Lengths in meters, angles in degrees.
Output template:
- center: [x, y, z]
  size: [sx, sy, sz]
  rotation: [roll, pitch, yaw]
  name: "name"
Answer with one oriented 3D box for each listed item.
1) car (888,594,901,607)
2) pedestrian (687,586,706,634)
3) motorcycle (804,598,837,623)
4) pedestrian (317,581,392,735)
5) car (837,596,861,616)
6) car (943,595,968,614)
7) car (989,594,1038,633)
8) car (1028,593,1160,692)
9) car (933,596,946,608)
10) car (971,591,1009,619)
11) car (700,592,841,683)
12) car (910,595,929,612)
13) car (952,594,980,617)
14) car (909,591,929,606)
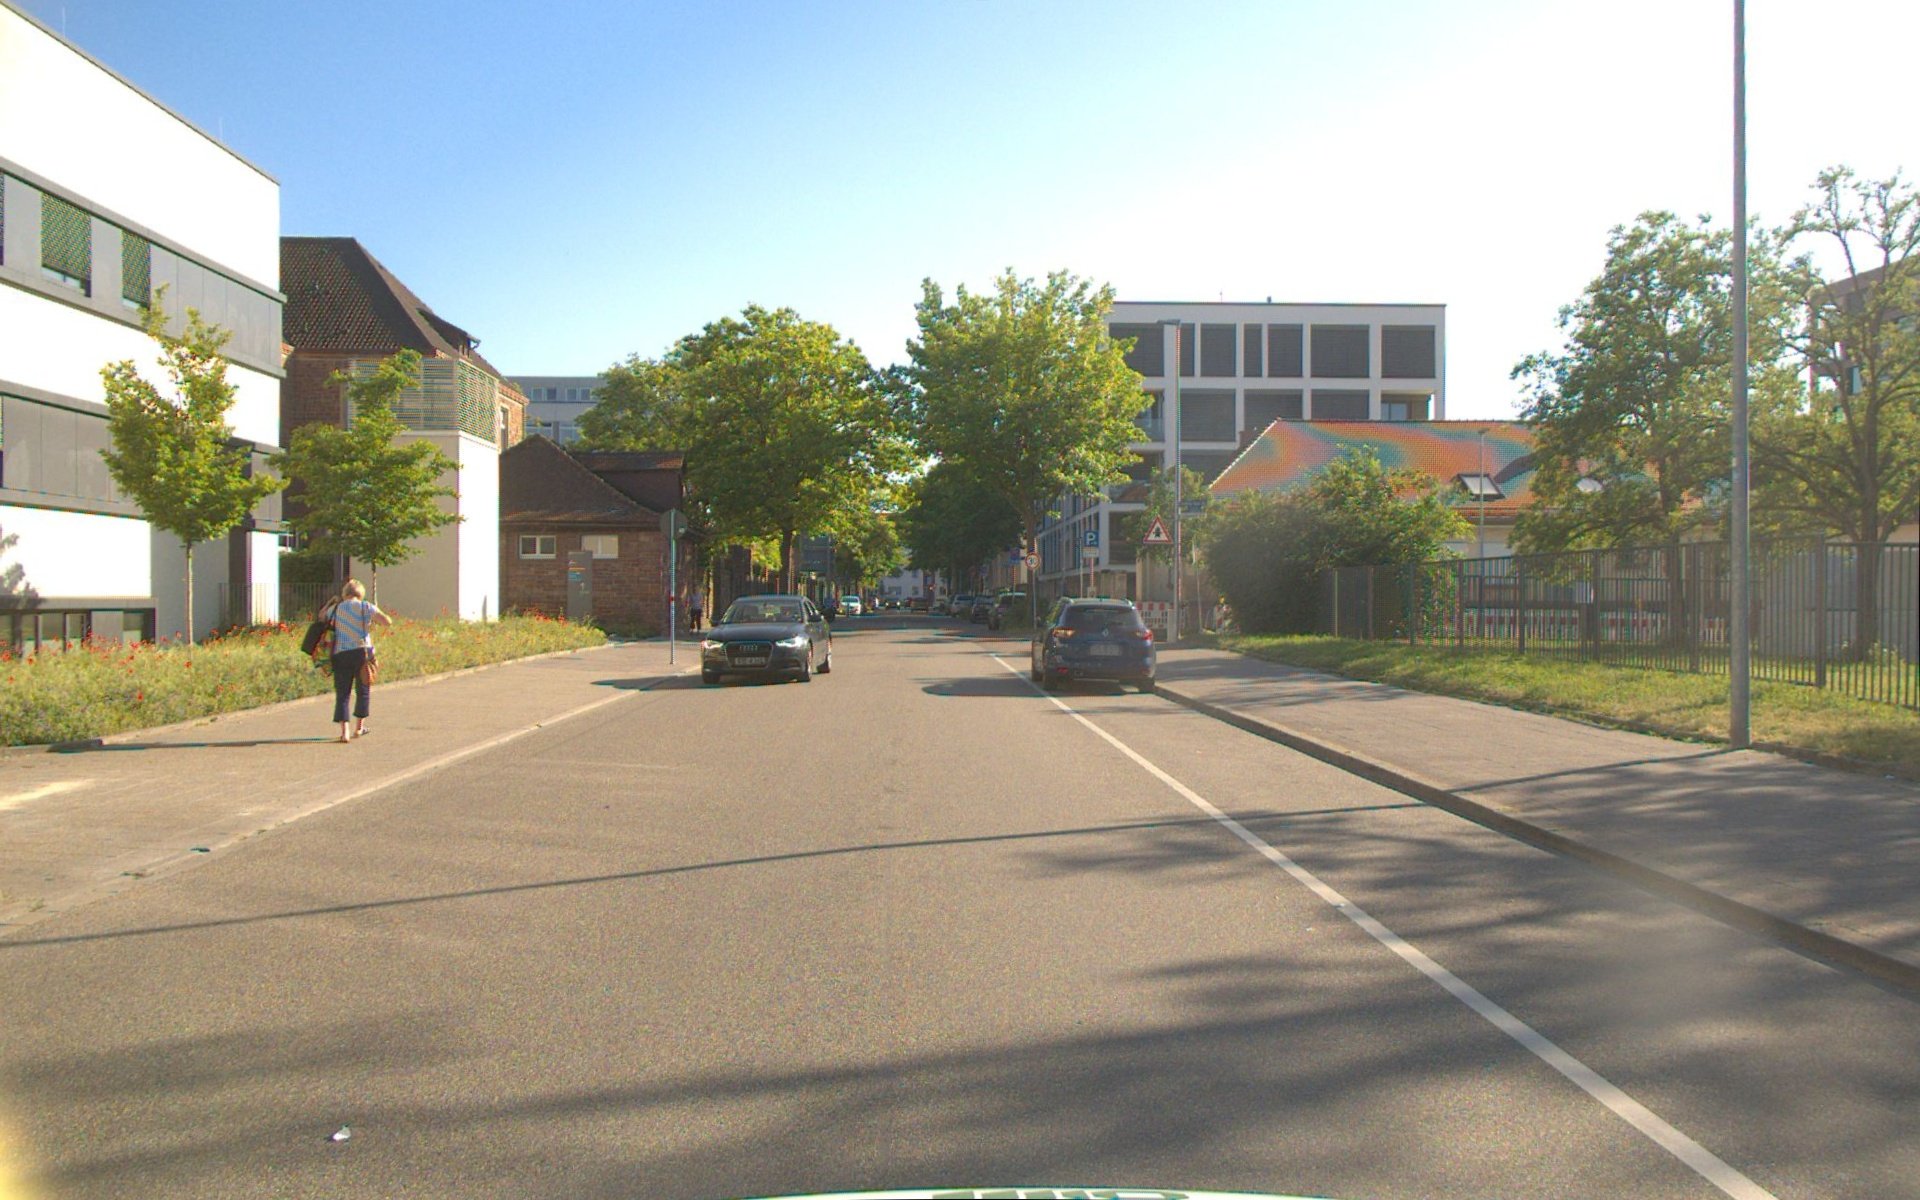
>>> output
- center: [-8.052, 0.071, 203.195]
  size: [1.620, 1.557, 3.998]
  rotation: [0, 0, -2]
  name: "car"
- center: [-8.834, 0.323, 55.432]
  size: [0.511, 1.590, 1.095]
  rotation: [0, 0, -3]
  name: "pedestrian"
- center: [-7.142, 0.525, 84.575]
  size: [0.565, 1.298, 2.117]
  rotation: [0, 0, 31]
  name: "motorcycle"
- center: [-6.197, 0.581, 16.944]
  size: [0.527, 1.550, 0.607]
  rotation: [0, 0, -1]
  name: "pedestrian"
- center: [-8.558, 0.456, 127.834]
  size: [1.732, 1.513, 3.997]
  rotation: [0, 0, -3]
  name: "car"
- center: [-0.345, 0.360, 133.127]
  size: [1.953, 1.491, 3.835]
  rotation: [0, 0, -1]
  name: "car"
- center: [2.148, 0.526, 67.195]
  size: [1.669, 1.494, 4.787]
  rotation: [0, 0, -2]
  name: "car"
- center: [2.146, 0.638, 27.431]
  size: [1.781, 1.478, 4.213]
  rotation: [0, 0, -1]
  name: "car"
- center: [-2.418, 0.209, 198.344]
  size: [1.553, 1.424, 3.835]
  rotation: [0, 0, -1]
  name: "car"
- center: [1.568, 0.255, 88.460]
  size: [1.732, 1.465, 3.997]
  rotation: [0, 0, -3]
  name: "car"
- center: [-3.262, 0.610, 29.337]
  size: [1.725, 1.467, 4.539]
  rotation: [-1, 0, 3]
  name: "car"
- center: [-3.874, 0.366, 157.165]
  size: [1.732, 1.575, 4.063]
  rotation: [0, 0, -3]
  name: "car"
- center: [0.378, 0.361, 117.377]
  size: [1.911, 1.606, 3.835]
  rotation: [0, 0, -1]
  name: "car"
- center: [-3.888, -0.166, 157.192]
  size: [1.851, 1.424, 3.835]
  rotation: [0, 0, -1]
  name: "car"
